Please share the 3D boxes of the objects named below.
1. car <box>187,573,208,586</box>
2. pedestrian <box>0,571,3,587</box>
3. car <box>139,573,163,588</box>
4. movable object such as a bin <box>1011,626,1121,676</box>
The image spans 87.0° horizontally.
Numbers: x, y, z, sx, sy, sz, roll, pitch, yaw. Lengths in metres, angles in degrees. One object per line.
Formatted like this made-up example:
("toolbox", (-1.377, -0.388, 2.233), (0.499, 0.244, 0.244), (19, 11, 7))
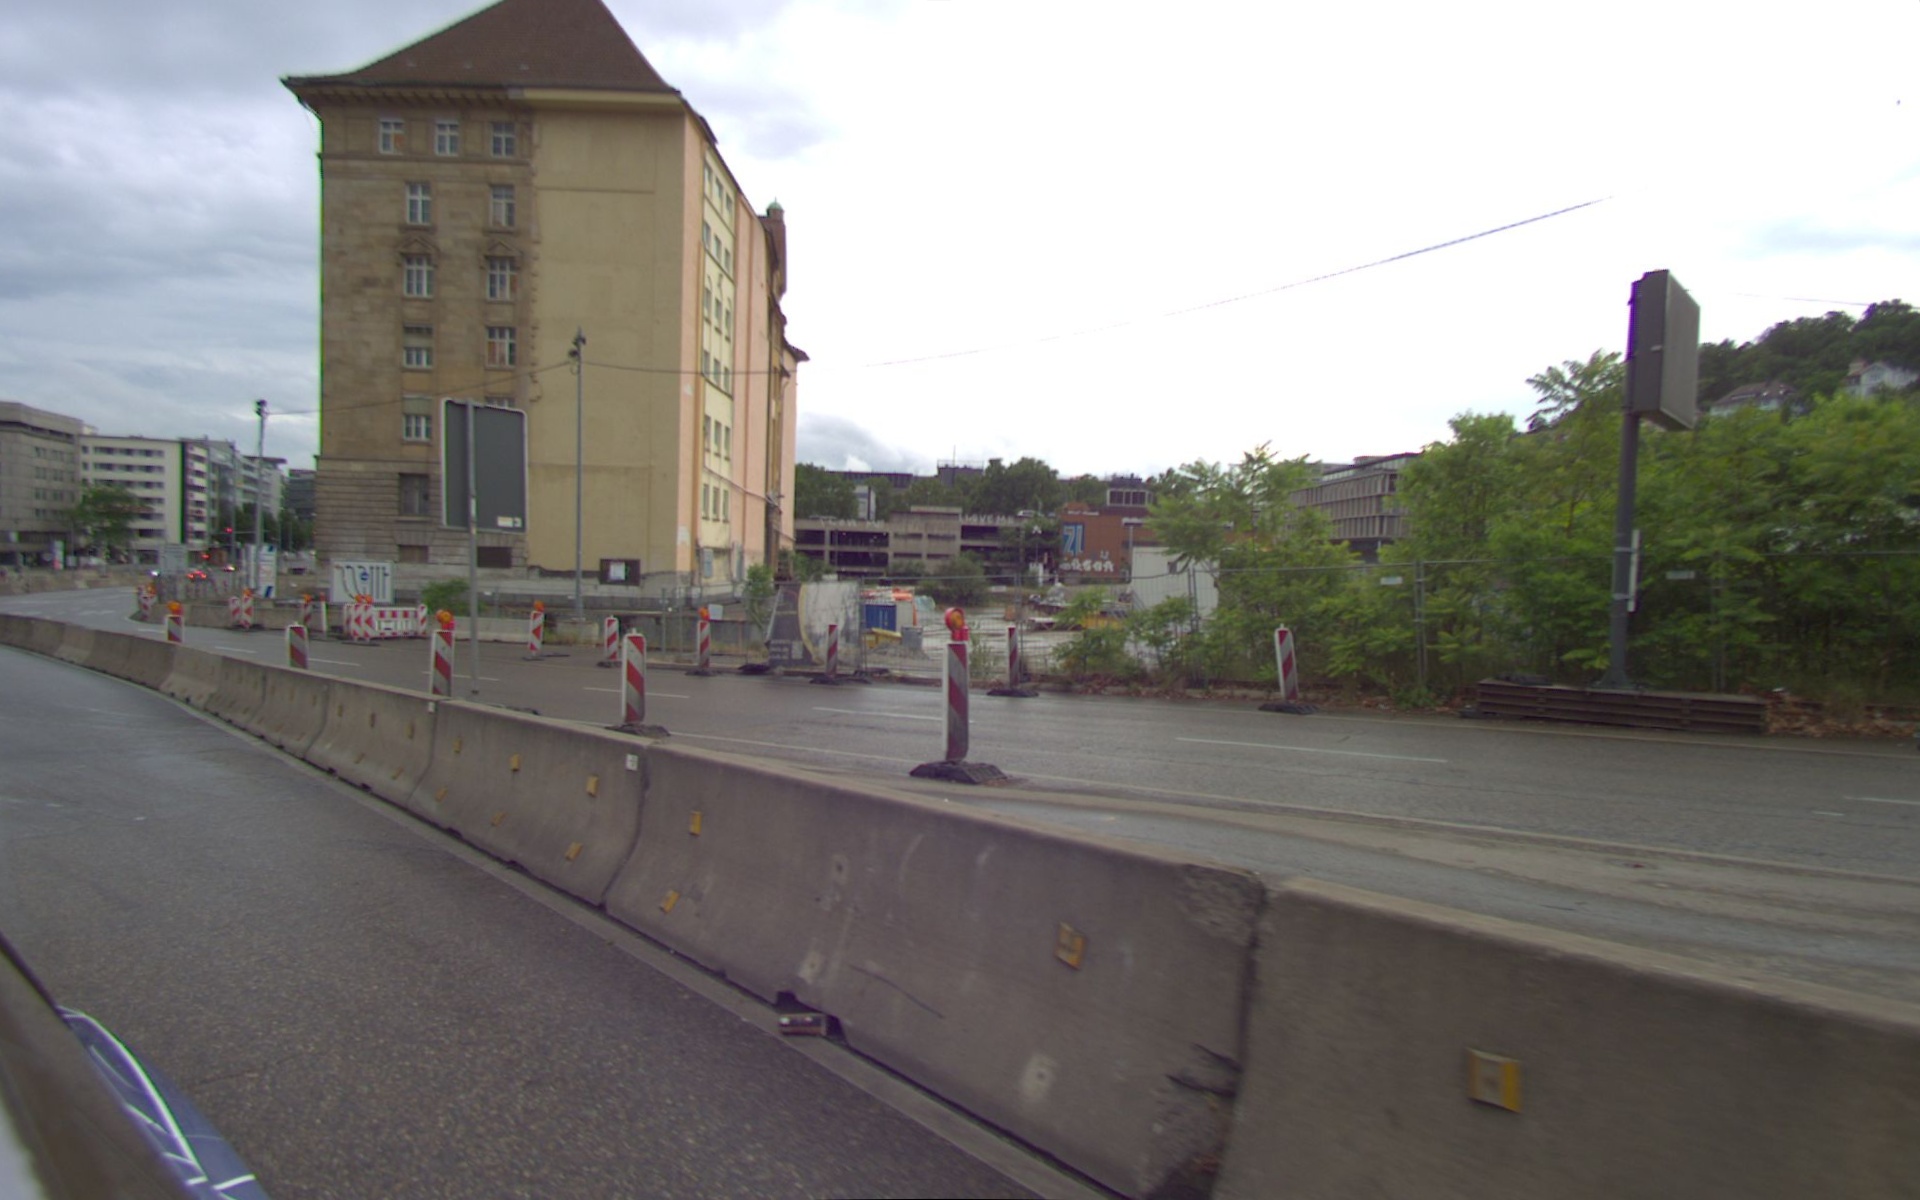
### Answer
("car", (-97.319, -2.638, 129.148), (1.742, 1.532, 4.400), (1, 2, -32))
("pedestrian", (-113.981, -2.498, 120.000), (0.644, 1.774, 0.549), (2, 0, -41))
("car", (-116.875, -2.823, 146.233), (1.966, 2.029, 4.012), (1, -1, -29))
("movable object such as a bin", (4.310, 2.046, 41.615), (1.710, 1.689, 4.452), (0, 2, -43))
